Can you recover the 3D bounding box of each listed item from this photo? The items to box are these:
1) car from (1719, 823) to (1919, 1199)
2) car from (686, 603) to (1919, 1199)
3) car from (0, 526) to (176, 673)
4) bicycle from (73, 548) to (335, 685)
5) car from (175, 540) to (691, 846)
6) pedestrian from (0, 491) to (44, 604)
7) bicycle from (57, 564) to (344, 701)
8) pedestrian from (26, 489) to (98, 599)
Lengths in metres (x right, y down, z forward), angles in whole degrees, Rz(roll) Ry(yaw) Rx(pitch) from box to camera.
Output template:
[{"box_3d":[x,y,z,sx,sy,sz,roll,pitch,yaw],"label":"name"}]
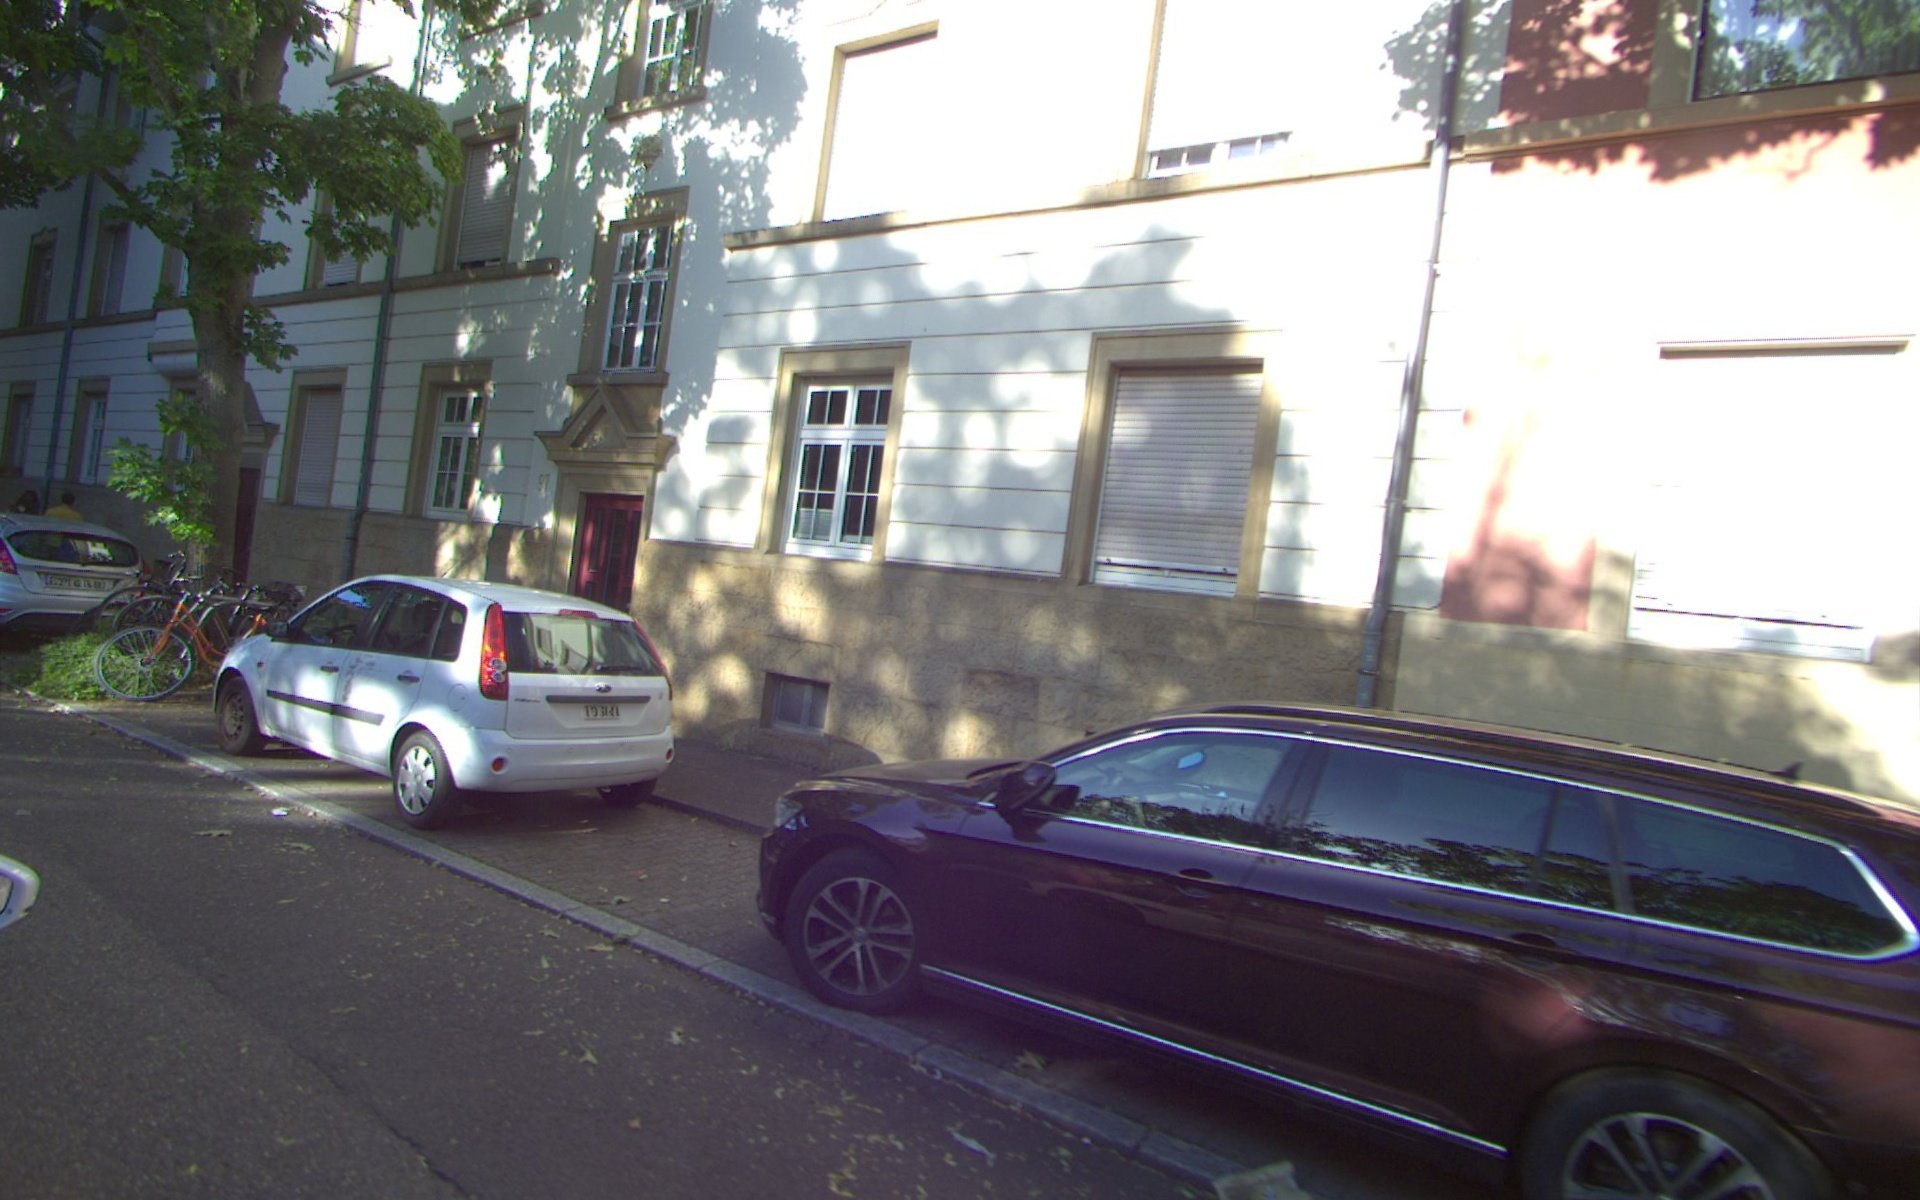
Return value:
[{"box_3d":[2.907,1.379,0.602,3.737,1.562,1.683,7,-2,31],"label":"car"},{"box_3d":[1.208,1.082,4.025,4.385,1.531,1.790,7,-2,31],"label":"car"},{"box_3d":[-11.274,-0.116,12.030,4.089,1.411,1.624,6,-1,33],"label":"car"},{"box_3d":[-7.788,0.205,10.469,0.748,1.244,1.970,7,0,33],"label":"bicycle"},{"box_3d":[-3.916,0.525,7.324,3.687,1.506,1.598,6,0,32],"label":"car"},{"box_3d":[-15.507,-0.868,16.399,0.864,1.756,0.520,7,0,34],"label":"pedestrian"},{"box_3d":[-6.898,0.325,9.261,0.590,1.086,1.970,7,0,33],"label":"bicycle"},{"box_3d":[-14.973,-0.928,16.773,0.678,1.722,0.596,7,0,34],"label":"pedestrian"}]
